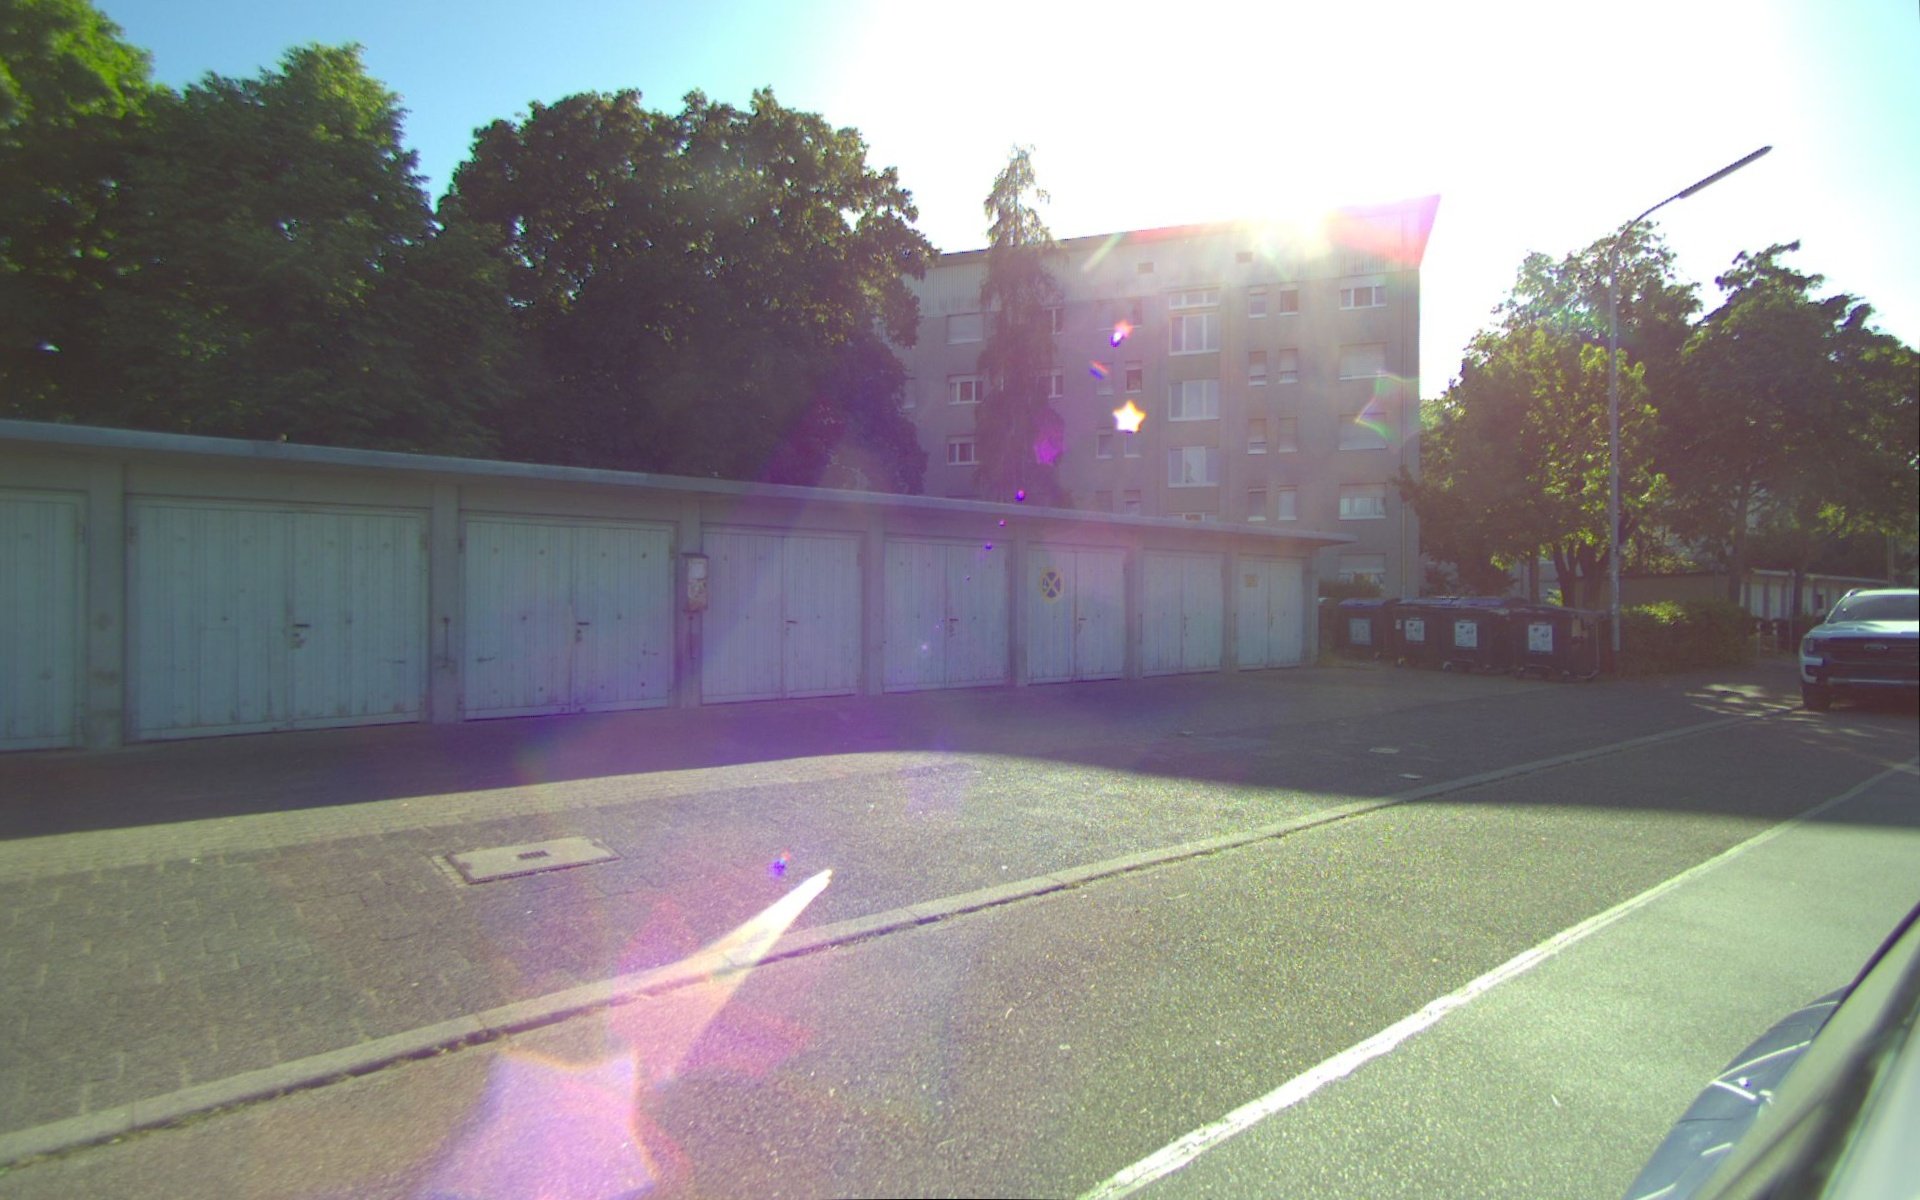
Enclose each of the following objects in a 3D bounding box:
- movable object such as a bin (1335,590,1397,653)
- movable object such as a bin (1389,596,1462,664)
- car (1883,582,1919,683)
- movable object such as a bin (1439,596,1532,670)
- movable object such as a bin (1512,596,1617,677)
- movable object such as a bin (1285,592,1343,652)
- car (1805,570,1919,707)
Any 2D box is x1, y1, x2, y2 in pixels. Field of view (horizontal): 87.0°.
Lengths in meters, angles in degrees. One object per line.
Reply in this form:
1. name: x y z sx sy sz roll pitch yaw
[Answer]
1. movable object such as a bin: 9.571 0.496 23.896 0.817 1.434 1.080 -1 1 -33
2. movable object such as a bin: 9.682 0.599 21.058 0.847 1.364 1.081 -1 1 -27
3. car: 19.288 0.613 19.330 4.473 1.814 1.836 1 -2 -40
4. movable object such as a bin: 10.239 0.607 19.747 1.031 1.364 1.256 -1 1 -27
5. movable object such as a bin: 10.842 0.624 18.186 1.031 1.364 1.256 -1 1 -27
6. movable object such as a bin: 8.770 0.517 25.101 0.817 1.434 1.080 -1 1 -33
7. car: 14.887 0.558 15.600 5.180 1.864 1.910 1 -2 -40
